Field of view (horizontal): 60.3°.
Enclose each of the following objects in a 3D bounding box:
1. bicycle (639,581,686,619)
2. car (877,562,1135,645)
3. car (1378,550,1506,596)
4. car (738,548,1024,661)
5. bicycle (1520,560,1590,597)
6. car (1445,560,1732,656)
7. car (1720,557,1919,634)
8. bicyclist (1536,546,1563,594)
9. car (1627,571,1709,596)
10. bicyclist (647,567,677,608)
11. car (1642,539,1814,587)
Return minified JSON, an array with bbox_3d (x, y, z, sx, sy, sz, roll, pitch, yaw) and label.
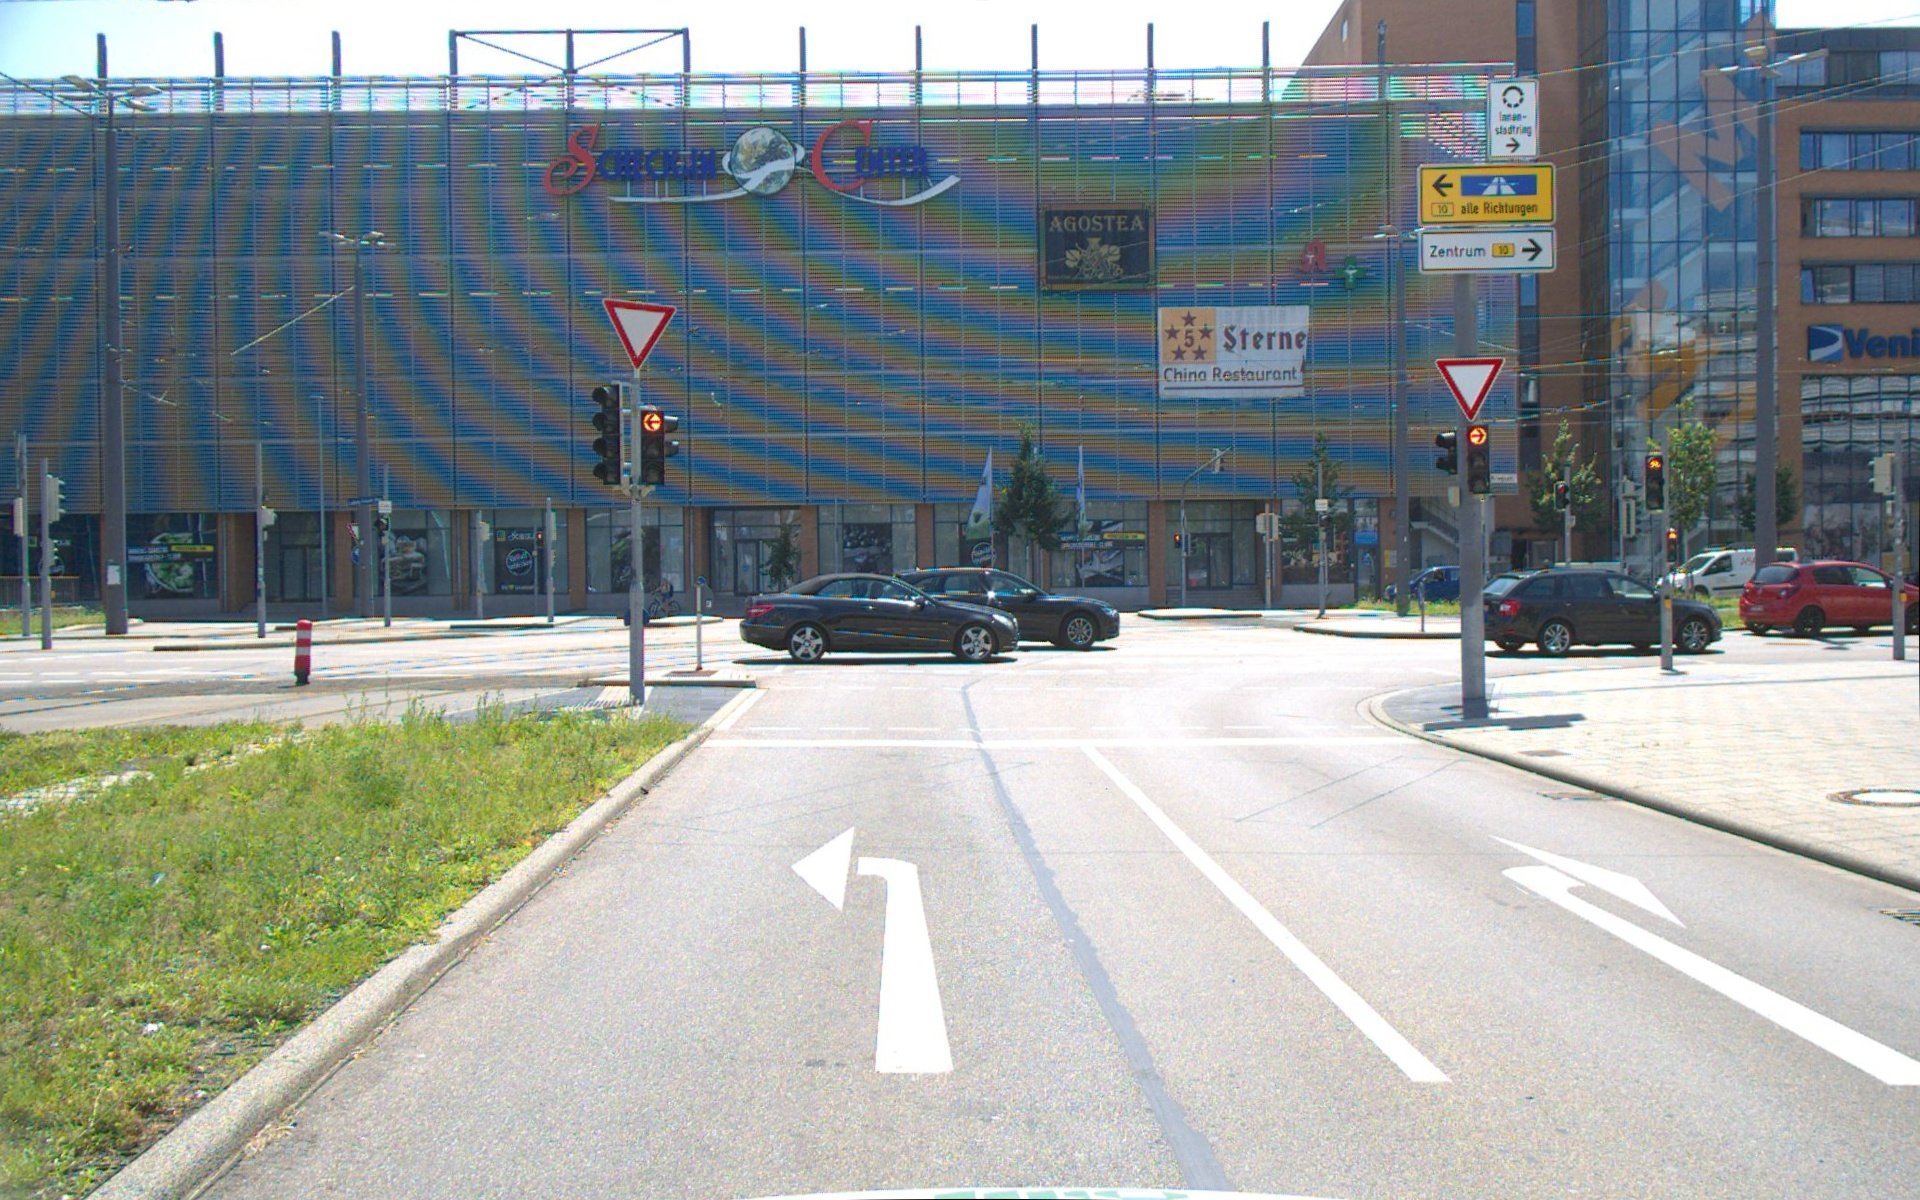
[{"bbox_3d":[-11.781,-0.013,65.568,1.039,1.414,3.026,0,2,6],"label":"bicycle"},{"bbox_3d":[0.801,0.051,30.871,4.671,1.485,1.887,0,1,-4],"label":"car"},{"bbox_3d":[16.923,-0.956,58.160,3.907,1.565,1.880,0,1,-3],"label":"car"},{"bbox_3d":[-1.303,0.034,27.135,4.459,1.603,1.999,-2,2,-4],"label":"car"},{"bbox_3d":[25.852,-0.929,71.921,2.790,1.584,0.705,0,1,1],"label":"bicycle"},{"bbox_3d":[11.097,0.112,29.350,4.441,1.534,1.839,-1,2,-8],"label":"car"},{"bbox_3d":[18.045,-0.118,34.073,4.053,1.534,1.837,0,1,-12],"label":"car"},{"bbox_3d":[25.607,-1.301,71.876,0.893,2.048,0.748,0,1,0],"label":"bicyclist"},{"bbox_3d":[30.083,-0.707,70.309,2.934,1.053,1.349,0,1,-4],"label":"car"},{"bbox_3d":[-11.789,-0.495,65.465,1.017,1.599,0.778,0,1,5],"label":"bicyclist"},{"bbox_3d":[27.548,-1.326,59.376,5.358,1.697,1.997,0,1,-7],"label":"car"}]
